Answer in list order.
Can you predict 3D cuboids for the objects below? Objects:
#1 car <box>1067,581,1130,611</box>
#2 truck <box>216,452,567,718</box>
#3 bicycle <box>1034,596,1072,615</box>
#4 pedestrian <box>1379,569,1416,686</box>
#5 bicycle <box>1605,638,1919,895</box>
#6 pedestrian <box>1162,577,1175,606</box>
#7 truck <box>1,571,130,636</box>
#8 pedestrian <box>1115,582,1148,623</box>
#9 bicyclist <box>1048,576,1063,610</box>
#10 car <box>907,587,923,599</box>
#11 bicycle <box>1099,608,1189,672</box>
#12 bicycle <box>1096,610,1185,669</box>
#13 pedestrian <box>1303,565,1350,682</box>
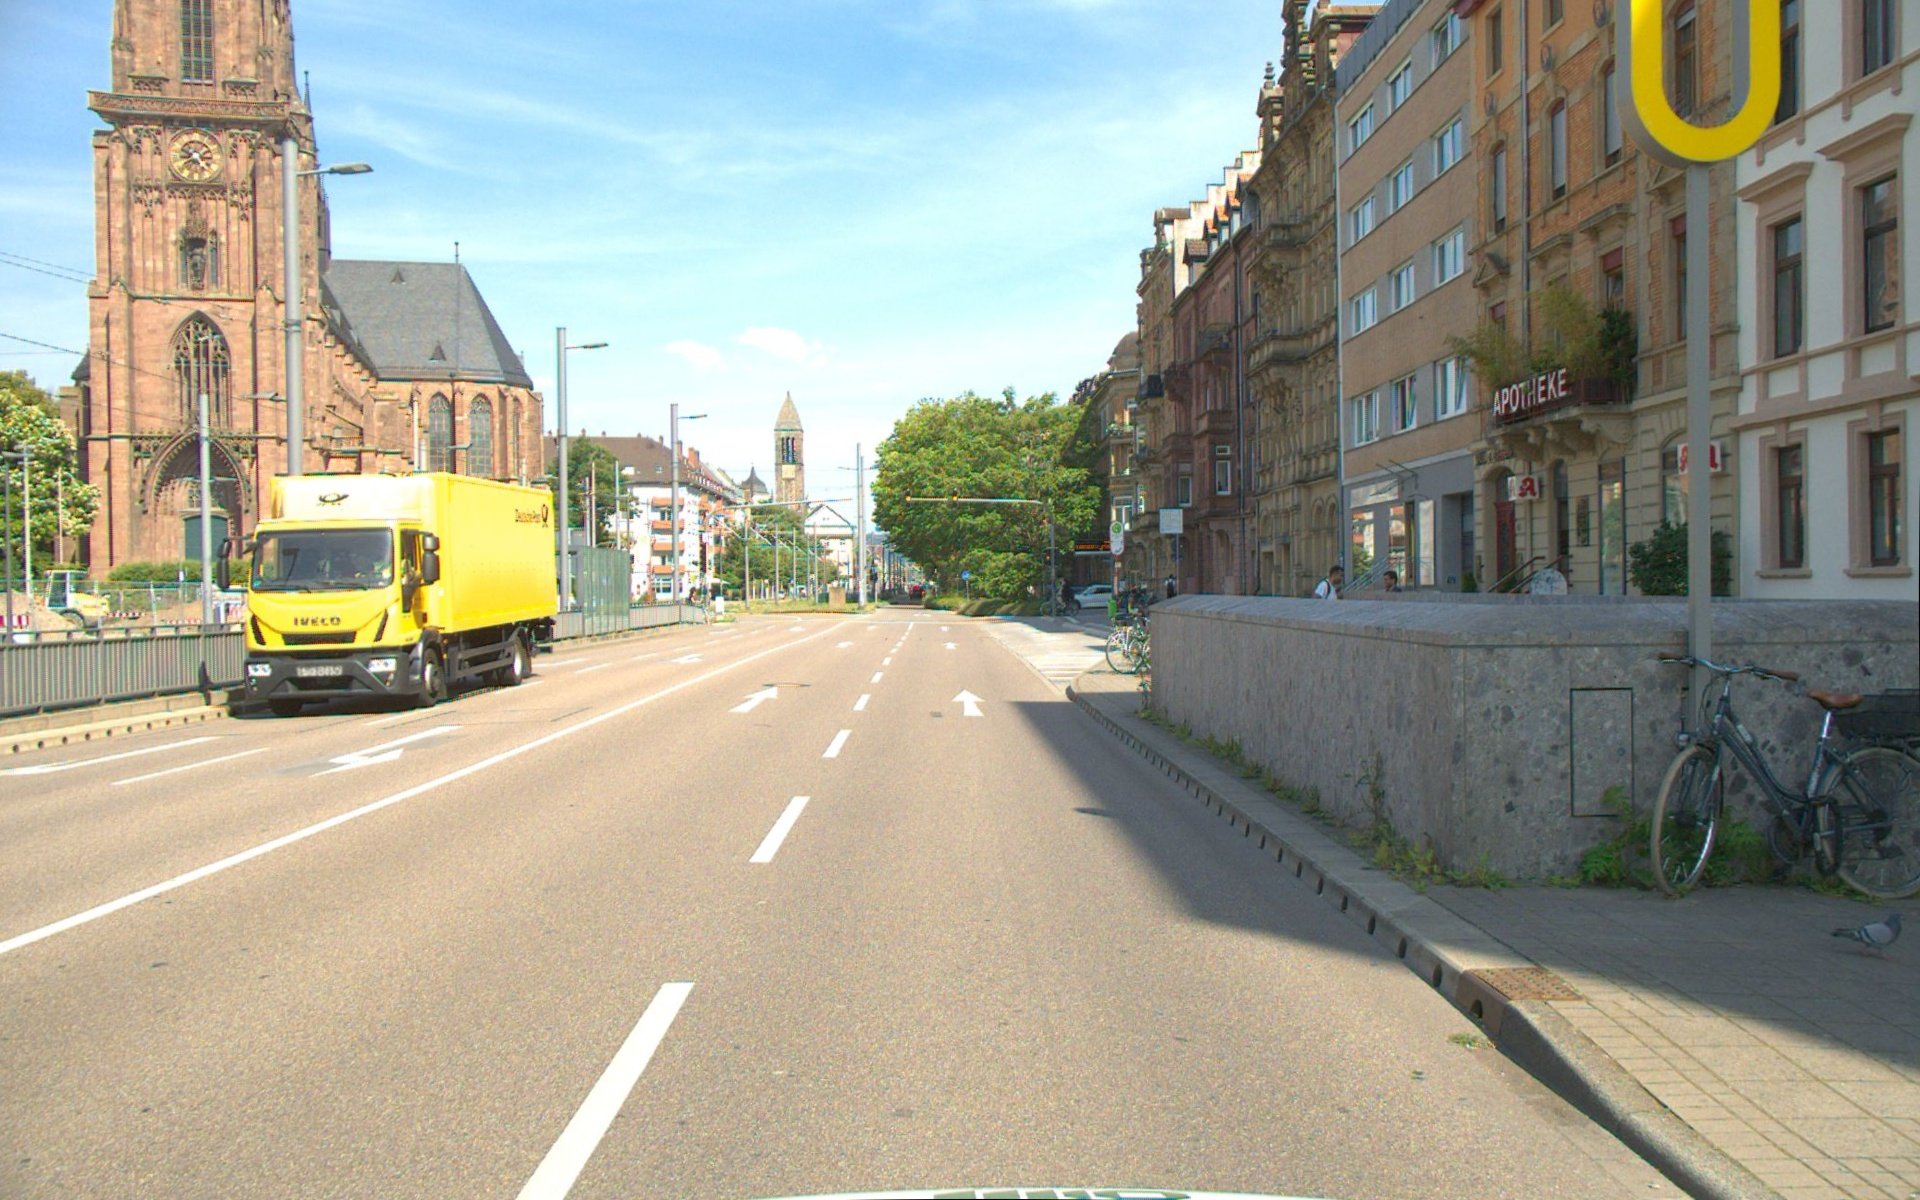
[{"bbox_3d":[8.979,-0.263,107.398,3.905,1.780,2.001,-1,3,1],"label":"car"},{"bbox_3d":[-8.534,-0.229,26.243,2.492,3.355,9.026,-3,0,-2],"label":"truck"},{"bbox_3d":[4.509,0.264,80.325,1.789,0.878,0.481,-1,3,-17],"label":"bicycle"},{"bbox_3d":[6.399,0.400,24.212,0.363,1.694,0.525,-1,0,-1],"label":"pedestrian"},{"bbox_3d":[4.015,0.761,7.813,1.707,1.113,0.597,-1,1,-1],"label":"bicycle"},{"bbox_3d":[10.390,-0.430,82.307,0.522,1.431,0.490,-1,3,-7],"label":"pedestrian"},{"bbox_3d":[-39.195,0.127,72.573,4.307,2.725,2.387,-1,0,3],"label":"truck"},{"bbox_3d":[5.717,0.069,55.168,0.928,1.348,0.822,-1,0,-4],"label":"pedestrian"},{"bbox_3d":[4.636,-0.328,80.346,0.629,1.619,0.481,-1,2,-16],"label":"bicyclist"},{"bbox_3d":[-5.735,-0.920,209.068,1.861,1.400,3.813,-1,1,-4],"label":"car"},{"bbox_3d":[3.043,0.659,27.433,1.431,0.993,0.415,-1,3,-2],"label":"bicycle"},{"bbox_3d":[3.041,0.667,27.880,1.431,0.963,0.415,-1,-1,-2],"label":"bicycle"},{"bbox_3d":[5.390,0.340,24.353,0.541,1.694,0.525,-1,0,-1],"label":"pedestrian"}]
